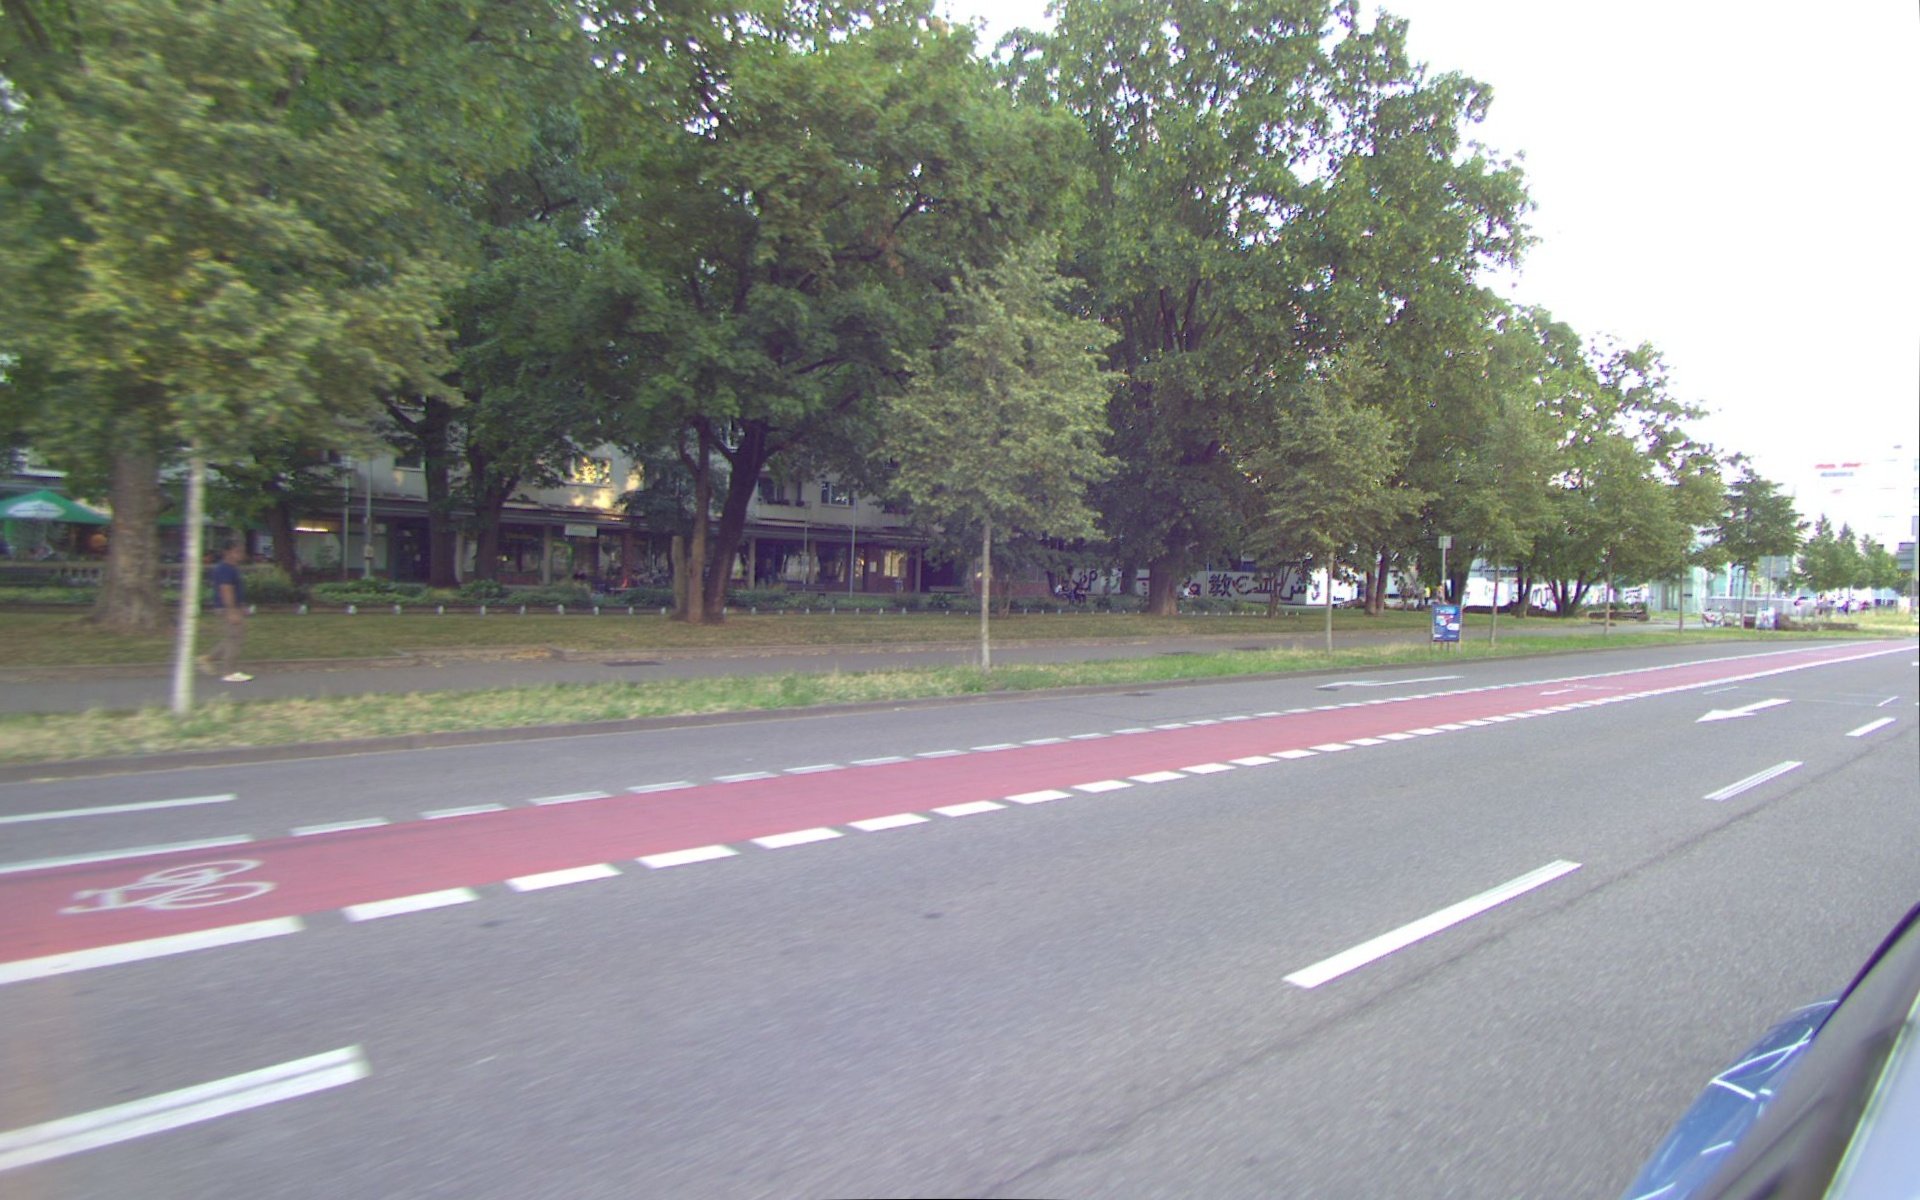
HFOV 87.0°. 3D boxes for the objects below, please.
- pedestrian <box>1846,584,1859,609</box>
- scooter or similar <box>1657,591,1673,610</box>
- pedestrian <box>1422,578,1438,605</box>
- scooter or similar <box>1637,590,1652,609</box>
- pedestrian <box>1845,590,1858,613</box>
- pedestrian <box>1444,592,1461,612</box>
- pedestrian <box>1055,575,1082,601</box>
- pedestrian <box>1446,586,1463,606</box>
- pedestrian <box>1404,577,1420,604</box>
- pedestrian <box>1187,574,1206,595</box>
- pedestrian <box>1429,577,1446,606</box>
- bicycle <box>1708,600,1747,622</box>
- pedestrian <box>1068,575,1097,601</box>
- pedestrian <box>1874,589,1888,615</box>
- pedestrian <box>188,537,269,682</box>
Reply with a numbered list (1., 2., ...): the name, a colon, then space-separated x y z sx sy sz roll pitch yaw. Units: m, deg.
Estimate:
1. pedestrian: 71.482 -0.296 81.030 0.608 1.957 0.644 0 2 -38
2. scooter or similar: 47.119 0.030 67.612 1.373 1.235 0.425 1 4 -40
3. pedestrian: 33.194 -0.602 71.449 0.587 1.843 0.771 1 1 -25
4. scooter or similar: 46.316 -0.007 68.466 0.473 1.235 1.550 6 4 43
5. pedestrian: 74.778 0.127 84.863 0.608 1.957 0.644 1 1 -38
6. pedestrian: 23.259 0.094 47.766 0.674 0.895 0.618 2 1 27
7. pedestrian: 5.430 -0.621 50.788 0.712 1.276 1.135 1 2 -37
8. pedestrian: 23.060 -0.196 47.177 0.674 0.895 0.588 2 1 26
9. pedestrian: 32.061 -0.673 71.748 0.587 1.879 0.771 1 1 -25
10. pedestrian: 13.580 -0.868 58.089 0.786 1.178 0.754 3 2 45
11. pedestrian: 32.902 -0.569 69.767 0.587 1.943 0.771 1 1 -25
12. bicycle: 37.338 0.535 49.238 1.858 1.017 0.497 2 3 -20
13. pedestrian: 6.203 -0.604 51.318 0.889 1.276 1.135 1 2 -37
14. pedestrian: 72.333 0.158 79.485 0.608 1.957 0.644 1 1 -40
15. pedestrian: -8.986 0.099 12.430 0.735 1.714 0.696 0 2 -41
